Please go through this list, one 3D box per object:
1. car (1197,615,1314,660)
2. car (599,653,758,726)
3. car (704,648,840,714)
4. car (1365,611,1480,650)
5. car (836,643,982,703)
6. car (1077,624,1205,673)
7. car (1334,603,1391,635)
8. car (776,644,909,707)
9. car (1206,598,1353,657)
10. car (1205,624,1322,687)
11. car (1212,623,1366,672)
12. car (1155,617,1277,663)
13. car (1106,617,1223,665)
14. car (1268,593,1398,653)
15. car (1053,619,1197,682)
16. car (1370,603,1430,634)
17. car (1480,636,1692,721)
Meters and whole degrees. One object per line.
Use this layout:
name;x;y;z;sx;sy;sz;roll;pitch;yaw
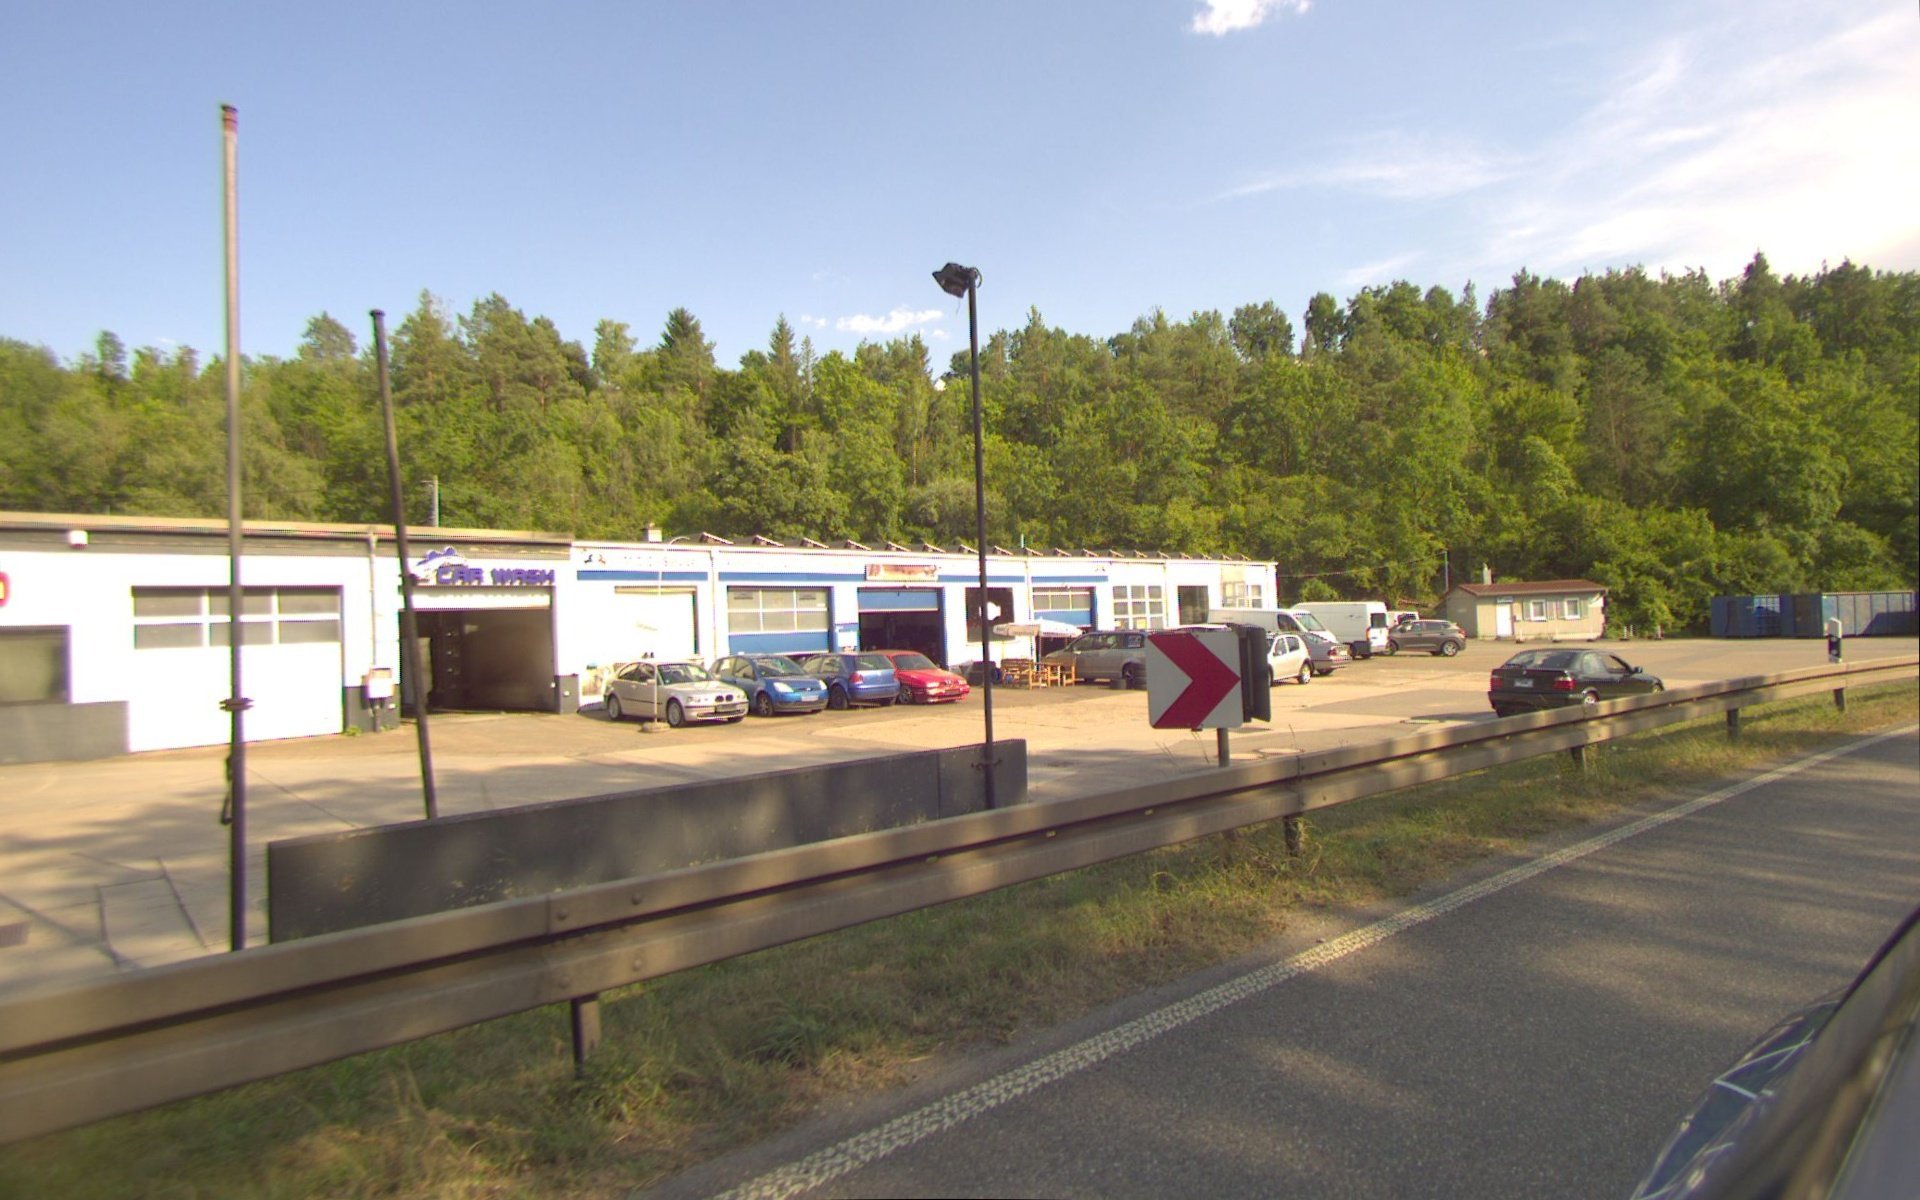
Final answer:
car;11.810;1.452;40.602;1.892;1.631;4.164;0;0;-42
car;-6.503;1.976;23.177;3.956;1.372;1.749;-1;-1;44
car;-4.676;1.935;24.904;1.662;1.424;3.553;0;-2;-42
car;20.973;1.377;46.000;4.330;1.691;1.938;0;-1;7
car;-1.463;1.928;27.733;1.862;1.365;4.072;0;0;-42
car;6.307;1.643;35.527;1.839;1.480;4.148;0;0;-44
car;27.344;1.304;68.864;1.961;2.040;4.099;-1;-1;-4
car;-3.121;1.923;26.451;1.704;1.464;3.547;0;-2;-42
car;13.275;1.093;42.357;2.256;2.303;5.480;0;0;-42
car;9.092;1.591;30.162;1.789;1.617;3.927;-1;0;43
car;11.215;1.573;34.740;1.925;1.452;4.723;0;0;-44
car;9.844;1.517;39.162;1.862;1.631;4.245;0;-1;-42
car;7.615;1.486;37.935;1.862;1.631;3.992;0;0;-42
car;16.360;0.988;44.533;2.171;2.480;4.910;0;-1;-44
car;5.162;1.531;32.105;1.861;1.750;4.249;0;0;-45
car;29.883;1.269;68.862;1.962;2.040;4.558;-2;-1;0
car;12.123;1.433;19.541;4.189;1.370;1.830;0;-1;-33
